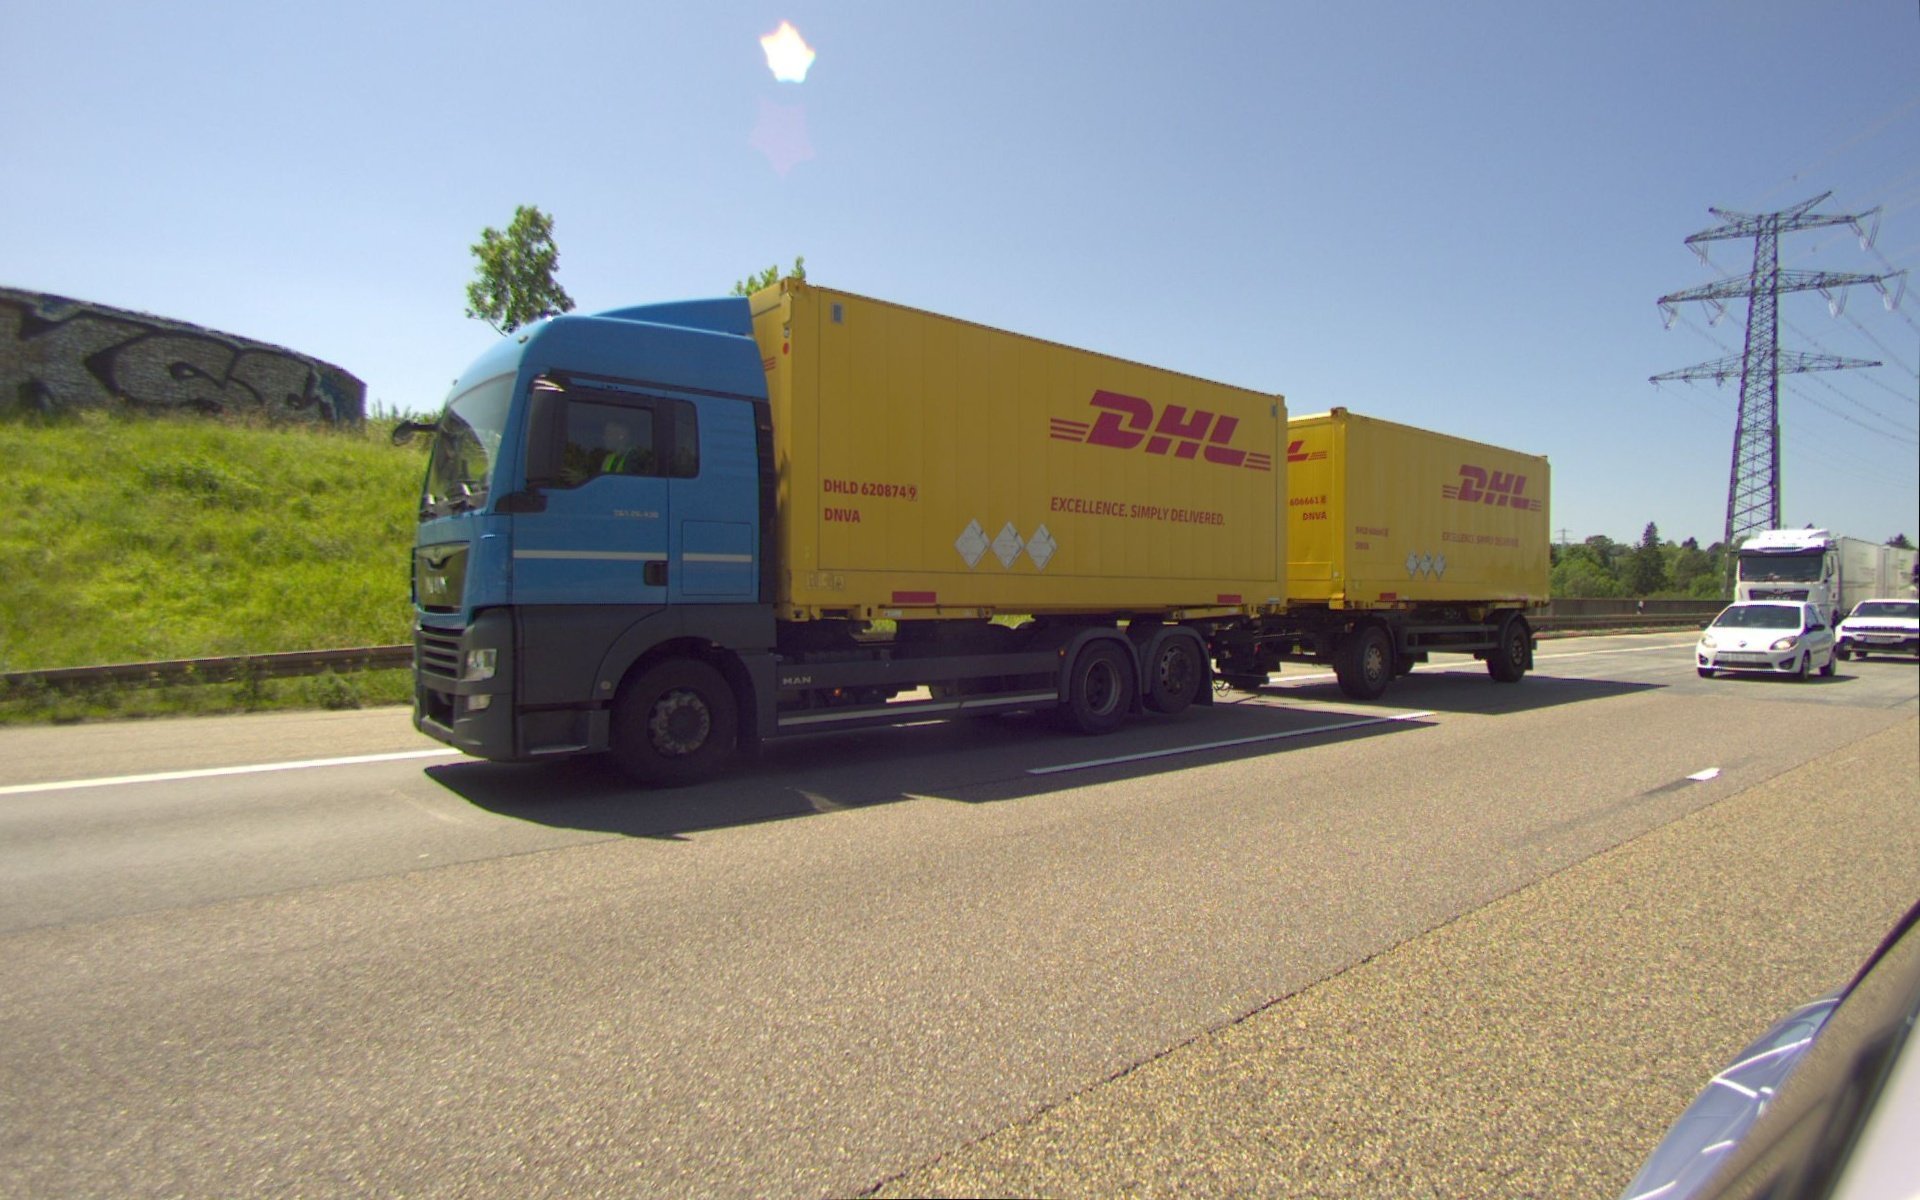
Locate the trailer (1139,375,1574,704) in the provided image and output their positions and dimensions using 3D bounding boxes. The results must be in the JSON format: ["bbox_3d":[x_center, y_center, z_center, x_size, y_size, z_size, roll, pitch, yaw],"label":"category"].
[{"bbox_3d":[7.029,-0.741,16.897,9.211,4.170,2.770,1,-1,-41],"label":"trailer"}]

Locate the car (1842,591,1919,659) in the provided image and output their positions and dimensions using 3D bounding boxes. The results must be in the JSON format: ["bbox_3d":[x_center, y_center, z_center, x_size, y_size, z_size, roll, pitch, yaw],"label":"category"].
[{"bbox_3d":[23.384,0.563,24.991,3.782,1.549,1.776,-1,0,-39],"label":"car"}]

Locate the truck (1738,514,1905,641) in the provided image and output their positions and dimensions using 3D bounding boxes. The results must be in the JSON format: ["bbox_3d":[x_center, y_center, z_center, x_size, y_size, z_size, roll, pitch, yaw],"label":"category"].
[{"bbox_3d":[31.210,-0.729,36.427,11.095,3.980,2.694,0,0,-40],"label":"truck"}]

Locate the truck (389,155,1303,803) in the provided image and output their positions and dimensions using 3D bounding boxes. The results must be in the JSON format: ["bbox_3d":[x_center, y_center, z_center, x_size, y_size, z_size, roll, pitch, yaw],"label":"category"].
[{"bbox_3d":[-0.244,-0.753,10.733,9.776,4.162,2.770,1,-1,-41],"label":"truck"}]

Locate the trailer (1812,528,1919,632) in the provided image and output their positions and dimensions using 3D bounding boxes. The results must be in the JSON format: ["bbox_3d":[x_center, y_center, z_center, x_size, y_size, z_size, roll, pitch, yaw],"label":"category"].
[{"bbox_3d":[38.397,-0.796,42.433,7.634,3.991,2.751,0,0,-39],"label":"trailer"}]

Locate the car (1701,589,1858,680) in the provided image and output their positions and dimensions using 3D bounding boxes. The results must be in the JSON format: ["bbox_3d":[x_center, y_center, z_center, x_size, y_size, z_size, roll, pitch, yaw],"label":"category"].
[{"bbox_3d":[15.799,0.578,19.457,3.758,1.529,1.659,-1,2,-40],"label":"car"}]
